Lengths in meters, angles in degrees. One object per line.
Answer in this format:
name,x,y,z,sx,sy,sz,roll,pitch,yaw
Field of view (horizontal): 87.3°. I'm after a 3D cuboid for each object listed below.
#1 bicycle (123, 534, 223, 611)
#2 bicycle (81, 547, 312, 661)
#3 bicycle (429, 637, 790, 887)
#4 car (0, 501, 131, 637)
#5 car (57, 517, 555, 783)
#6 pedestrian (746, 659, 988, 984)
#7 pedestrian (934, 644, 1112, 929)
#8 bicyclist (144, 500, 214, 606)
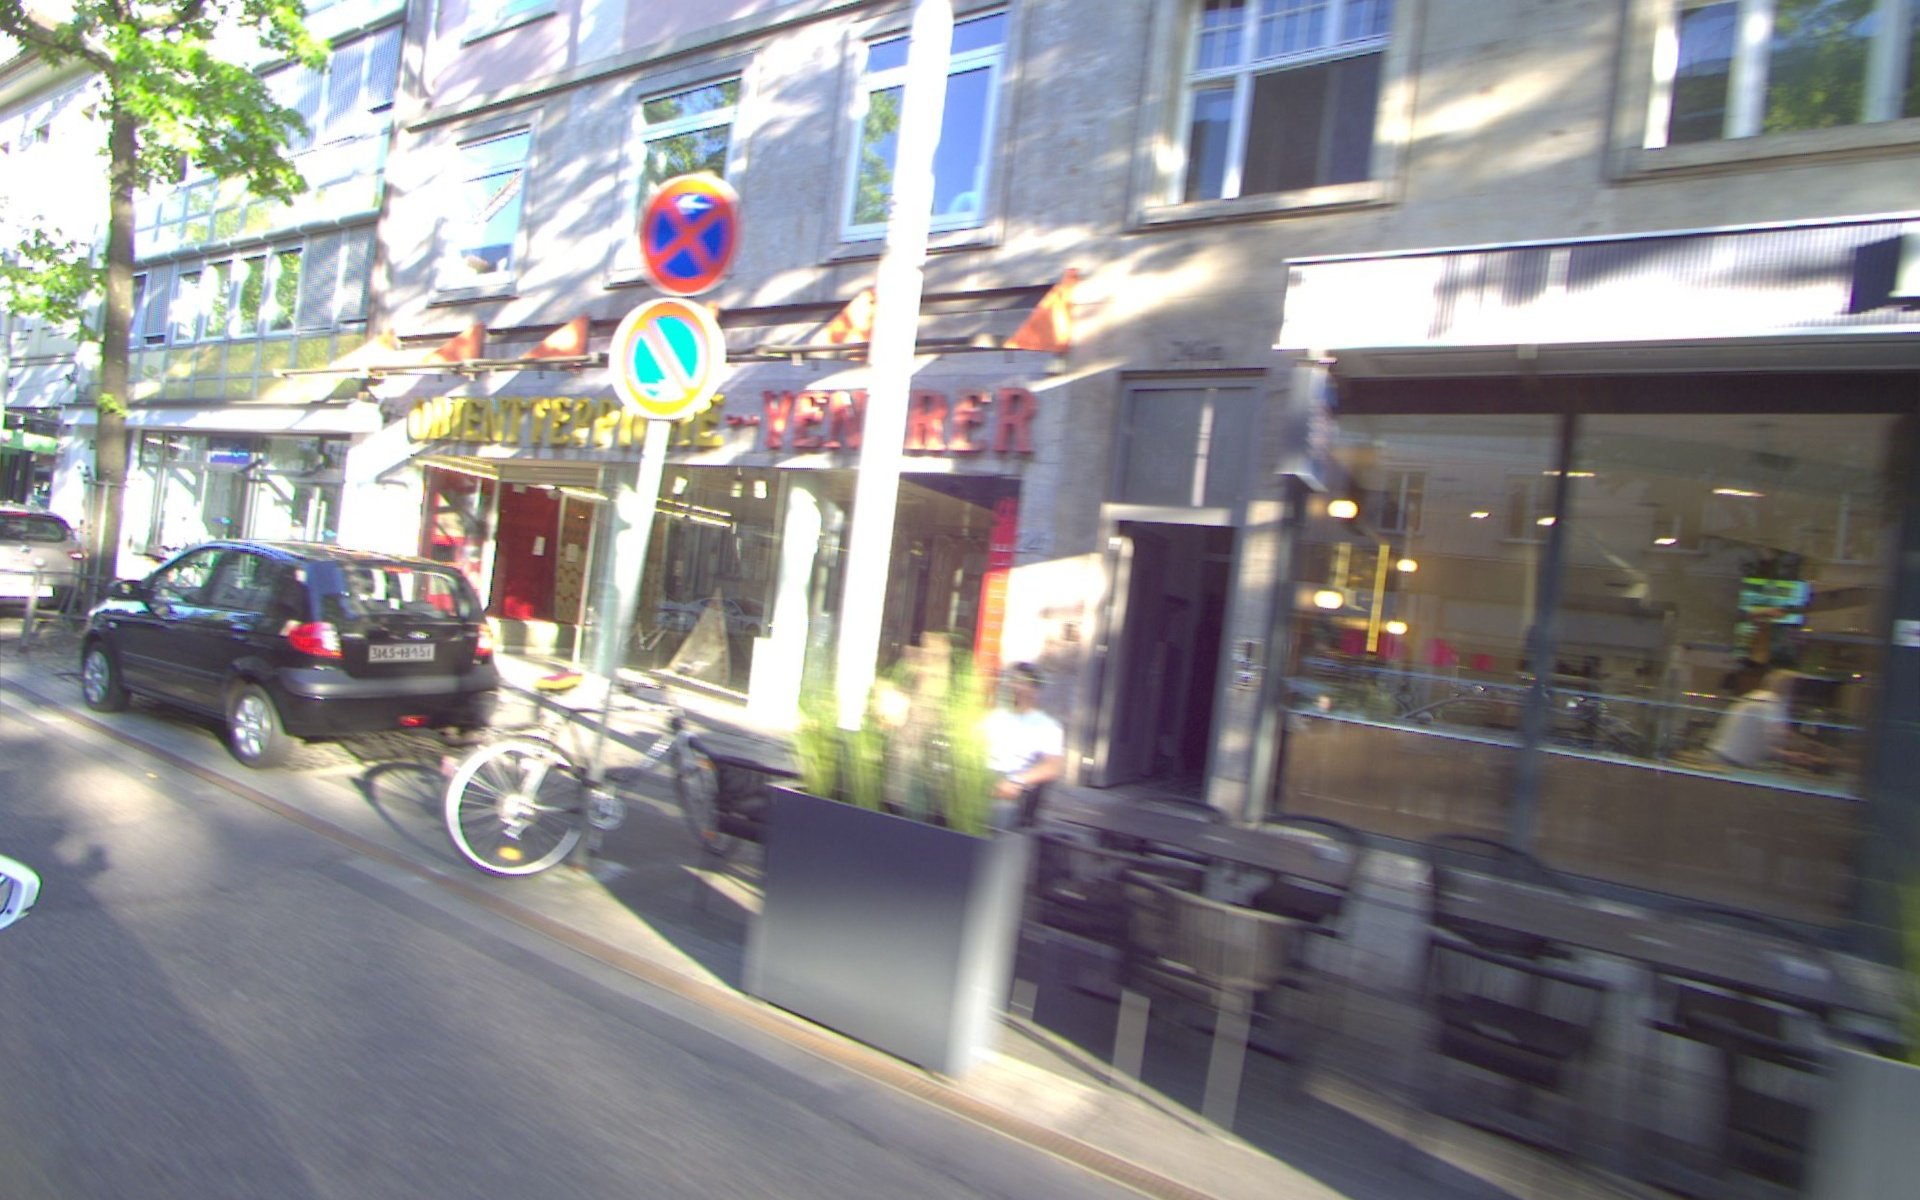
bicycle,-13.444,-0.476,17.171,1.830,1.087,0.648,7,0,31
bicycle,-8.362,0.083,11.126,0.699,1.087,1.861,7,0,23
bicycle,-1.878,0.856,5.545,1.716,1.153,0.541,6,1,-38
car,-12.689,-0.561,12.778,3.930,1.503,1.819,6,-1,27
car,-5.215,0.291,7.967,3.593,1.476,1.802,6,0,30
pedestrian,-0.413,0.965,4.659,0.577,1.281,0.817,7,0,37
pedestrian,0.324,1.002,5.648,0.734,1.404,0.709,7,0,-5
bicyclist,-13.230,-0.790,17.049,0.589,1.705,0.639,7,1,31
